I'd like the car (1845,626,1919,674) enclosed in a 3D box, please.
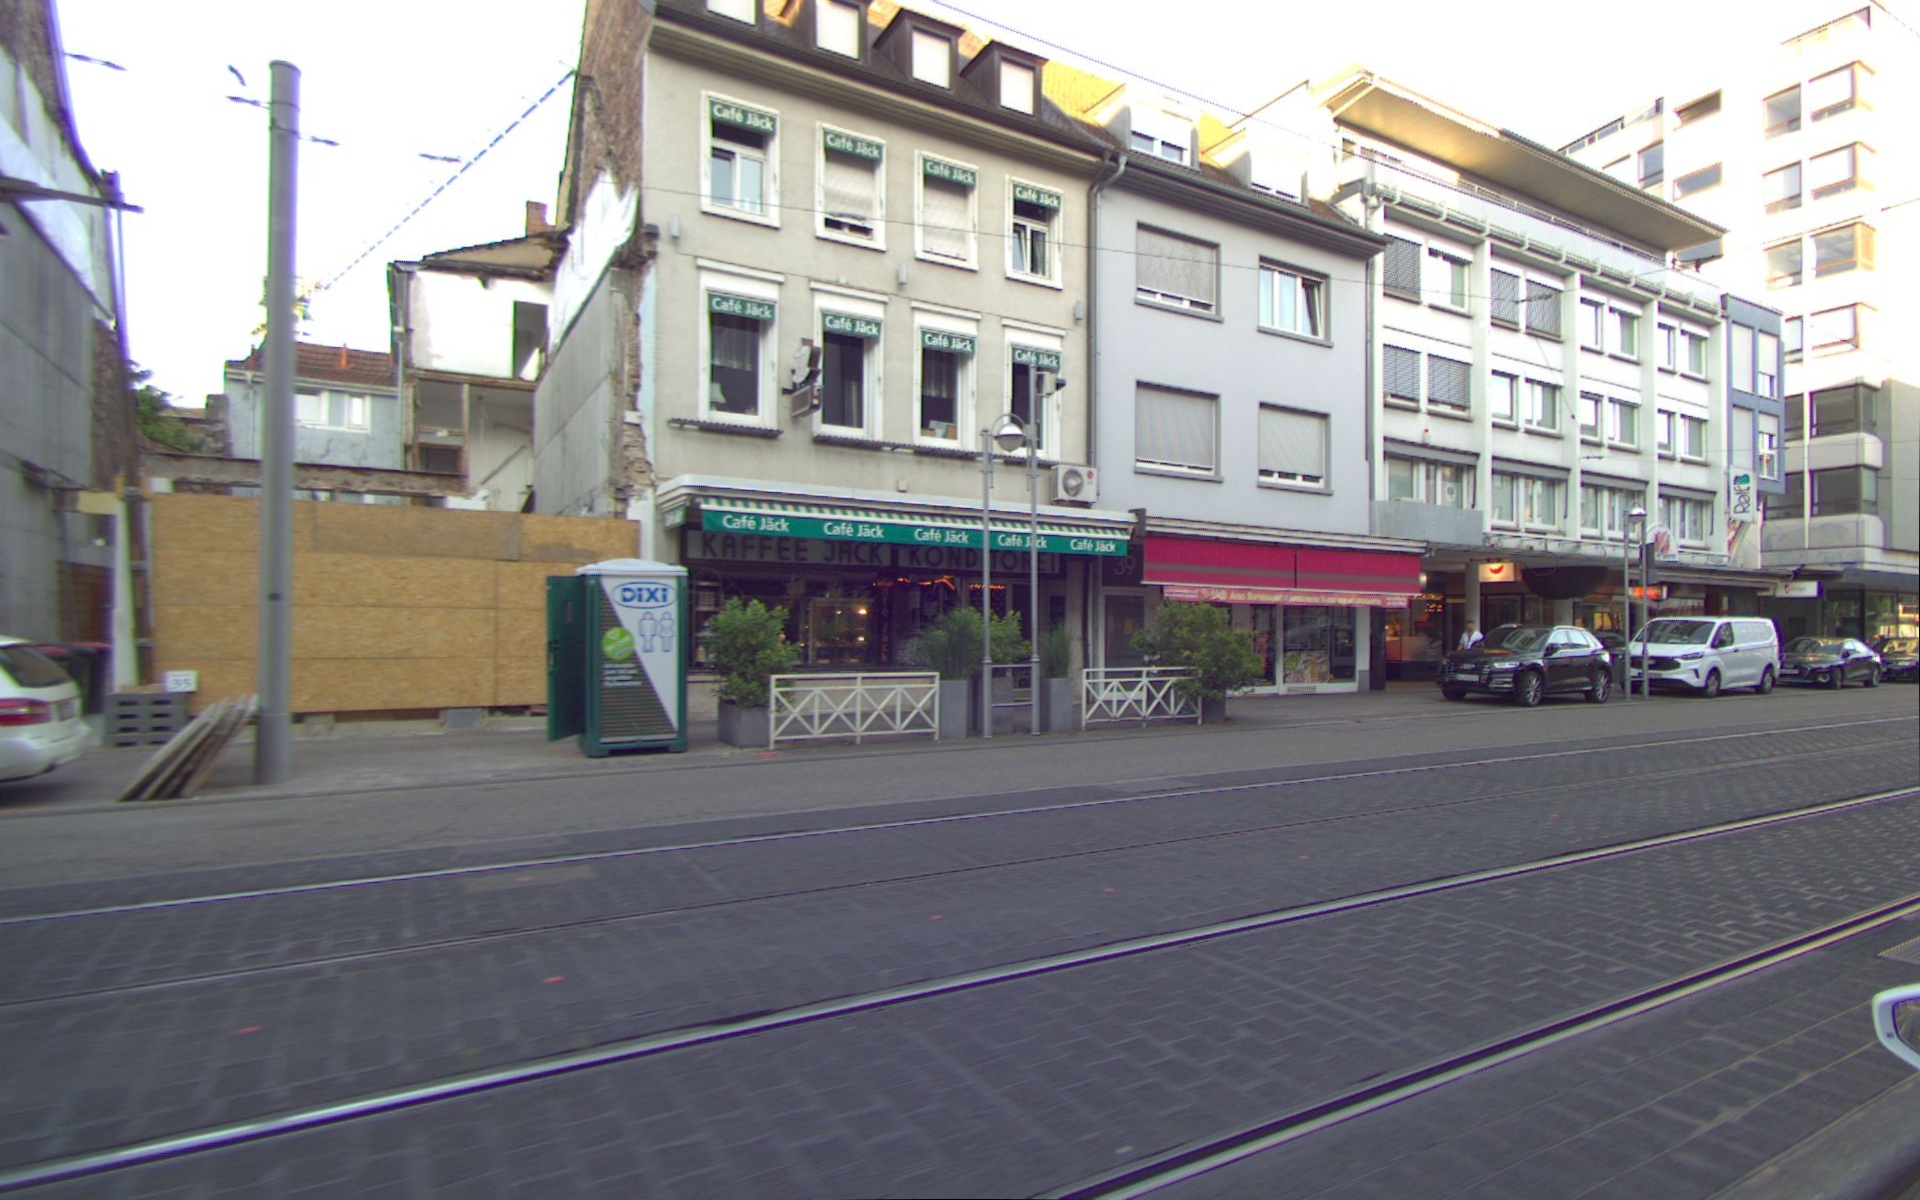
[{"bbox_3d":[30.915,1.622,32.821,4.042,1.480,1.782,1,-2,-30],"label":"car"}]

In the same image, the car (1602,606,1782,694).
[{"bbox_3d":[18.798,1.252,25.728,5.043,2.040,1.954,2,0,-32],"label":"car"}]

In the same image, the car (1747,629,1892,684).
[{"bbox_3d":[25.328,1.653,29.570,4.518,1.445,1.863,2,0,-31],"label":"car"}]
